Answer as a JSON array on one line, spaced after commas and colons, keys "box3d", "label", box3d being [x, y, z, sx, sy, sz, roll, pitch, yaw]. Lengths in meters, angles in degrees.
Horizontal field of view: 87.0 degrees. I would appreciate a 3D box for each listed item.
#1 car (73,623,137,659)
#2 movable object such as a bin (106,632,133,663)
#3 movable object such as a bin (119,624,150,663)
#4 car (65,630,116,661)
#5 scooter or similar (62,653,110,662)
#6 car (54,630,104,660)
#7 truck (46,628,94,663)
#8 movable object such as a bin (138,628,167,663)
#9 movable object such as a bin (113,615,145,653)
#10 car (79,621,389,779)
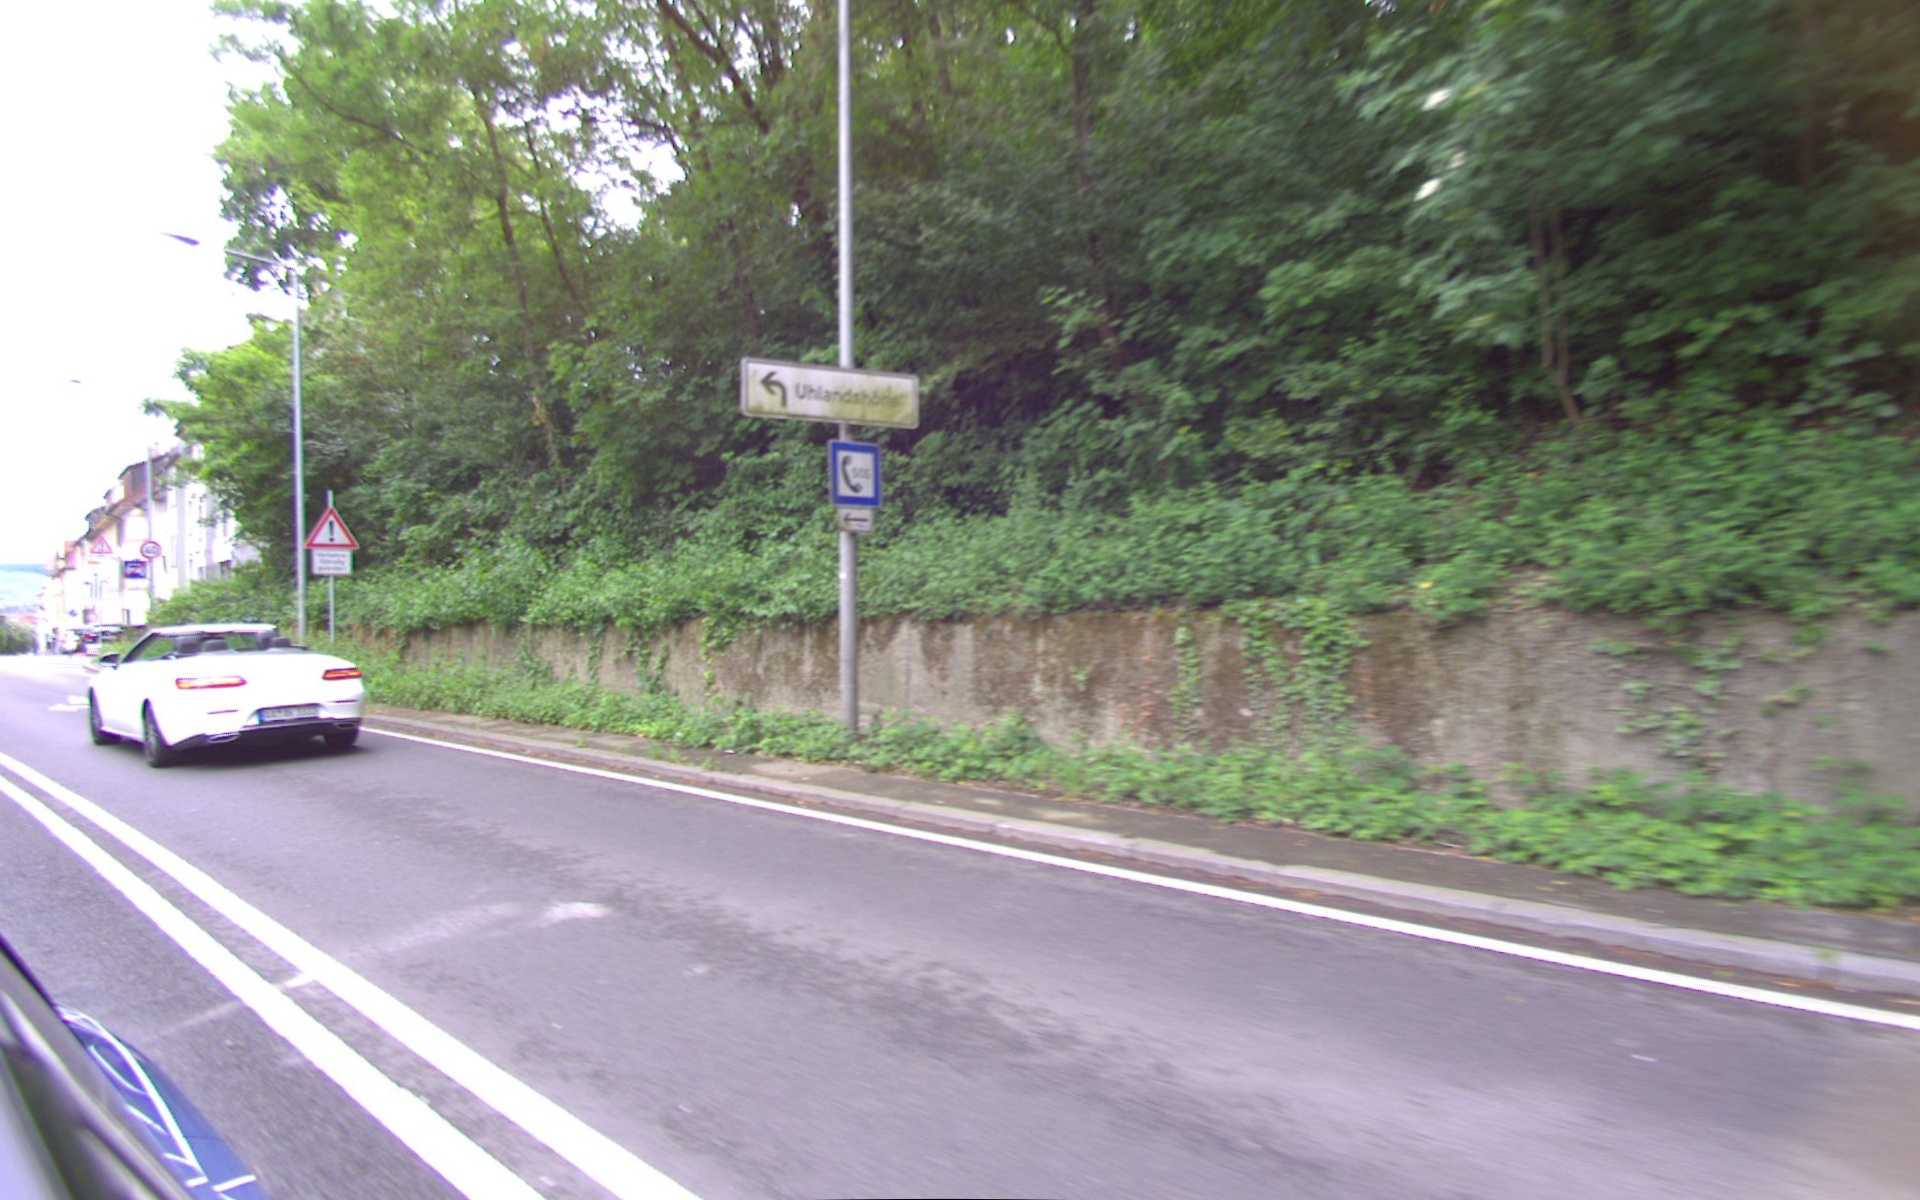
[{"box3d": [-38.224, 1.851, 45.199, 1.970, 1.411, 4.522, 0, -3, -43], "label": "car"}, {"box3d": [-27.427, 1.547, 33.030, 0.443, 0.974, 0.512, -3, 1, 31], "label": "movable object such as a bin"}, {"box3d": [-26.450, 1.379, 32.426, 0.429, 1.194, 0.576, -3, 1, 31], "label": "movable object such as a bin"}, {"box3d": [-48.246, 2.527, 56.106, 1.970, 1.485, 4.162, 0, -3, -43], "label": "car"}, {"box3d": [-33.378, 2.199, 38.657, 1.095, 0.290, 1.115, -2, -2, 31], "label": "scooter or similar"}, {"box3d": [-51.850, 2.683, 59.516, 1.970, 1.564, 4.385, 0, -3, -44], "label": "car"}, {"box3d": [-56.013, 2.868, 63.642, 1.970, 1.935, 5.350, 0, -3, -44], "label": "truck"}, {"box3d": [-25.318, 1.416, 31.725, 0.429, 1.032, 0.551, -3, 2, 31], "label": "movable object such as a bin"}, {"box3d": [-26.881, 1.098, 32.747, 0.490, 1.194, 0.600, -3, 1, 31], "label": "movable object such as a bin"}, {"box3d": [-8.199, 0.945, 11.264, 4.454, 1.381, 1.849, -1, -1, 41], "label": "car"}]
